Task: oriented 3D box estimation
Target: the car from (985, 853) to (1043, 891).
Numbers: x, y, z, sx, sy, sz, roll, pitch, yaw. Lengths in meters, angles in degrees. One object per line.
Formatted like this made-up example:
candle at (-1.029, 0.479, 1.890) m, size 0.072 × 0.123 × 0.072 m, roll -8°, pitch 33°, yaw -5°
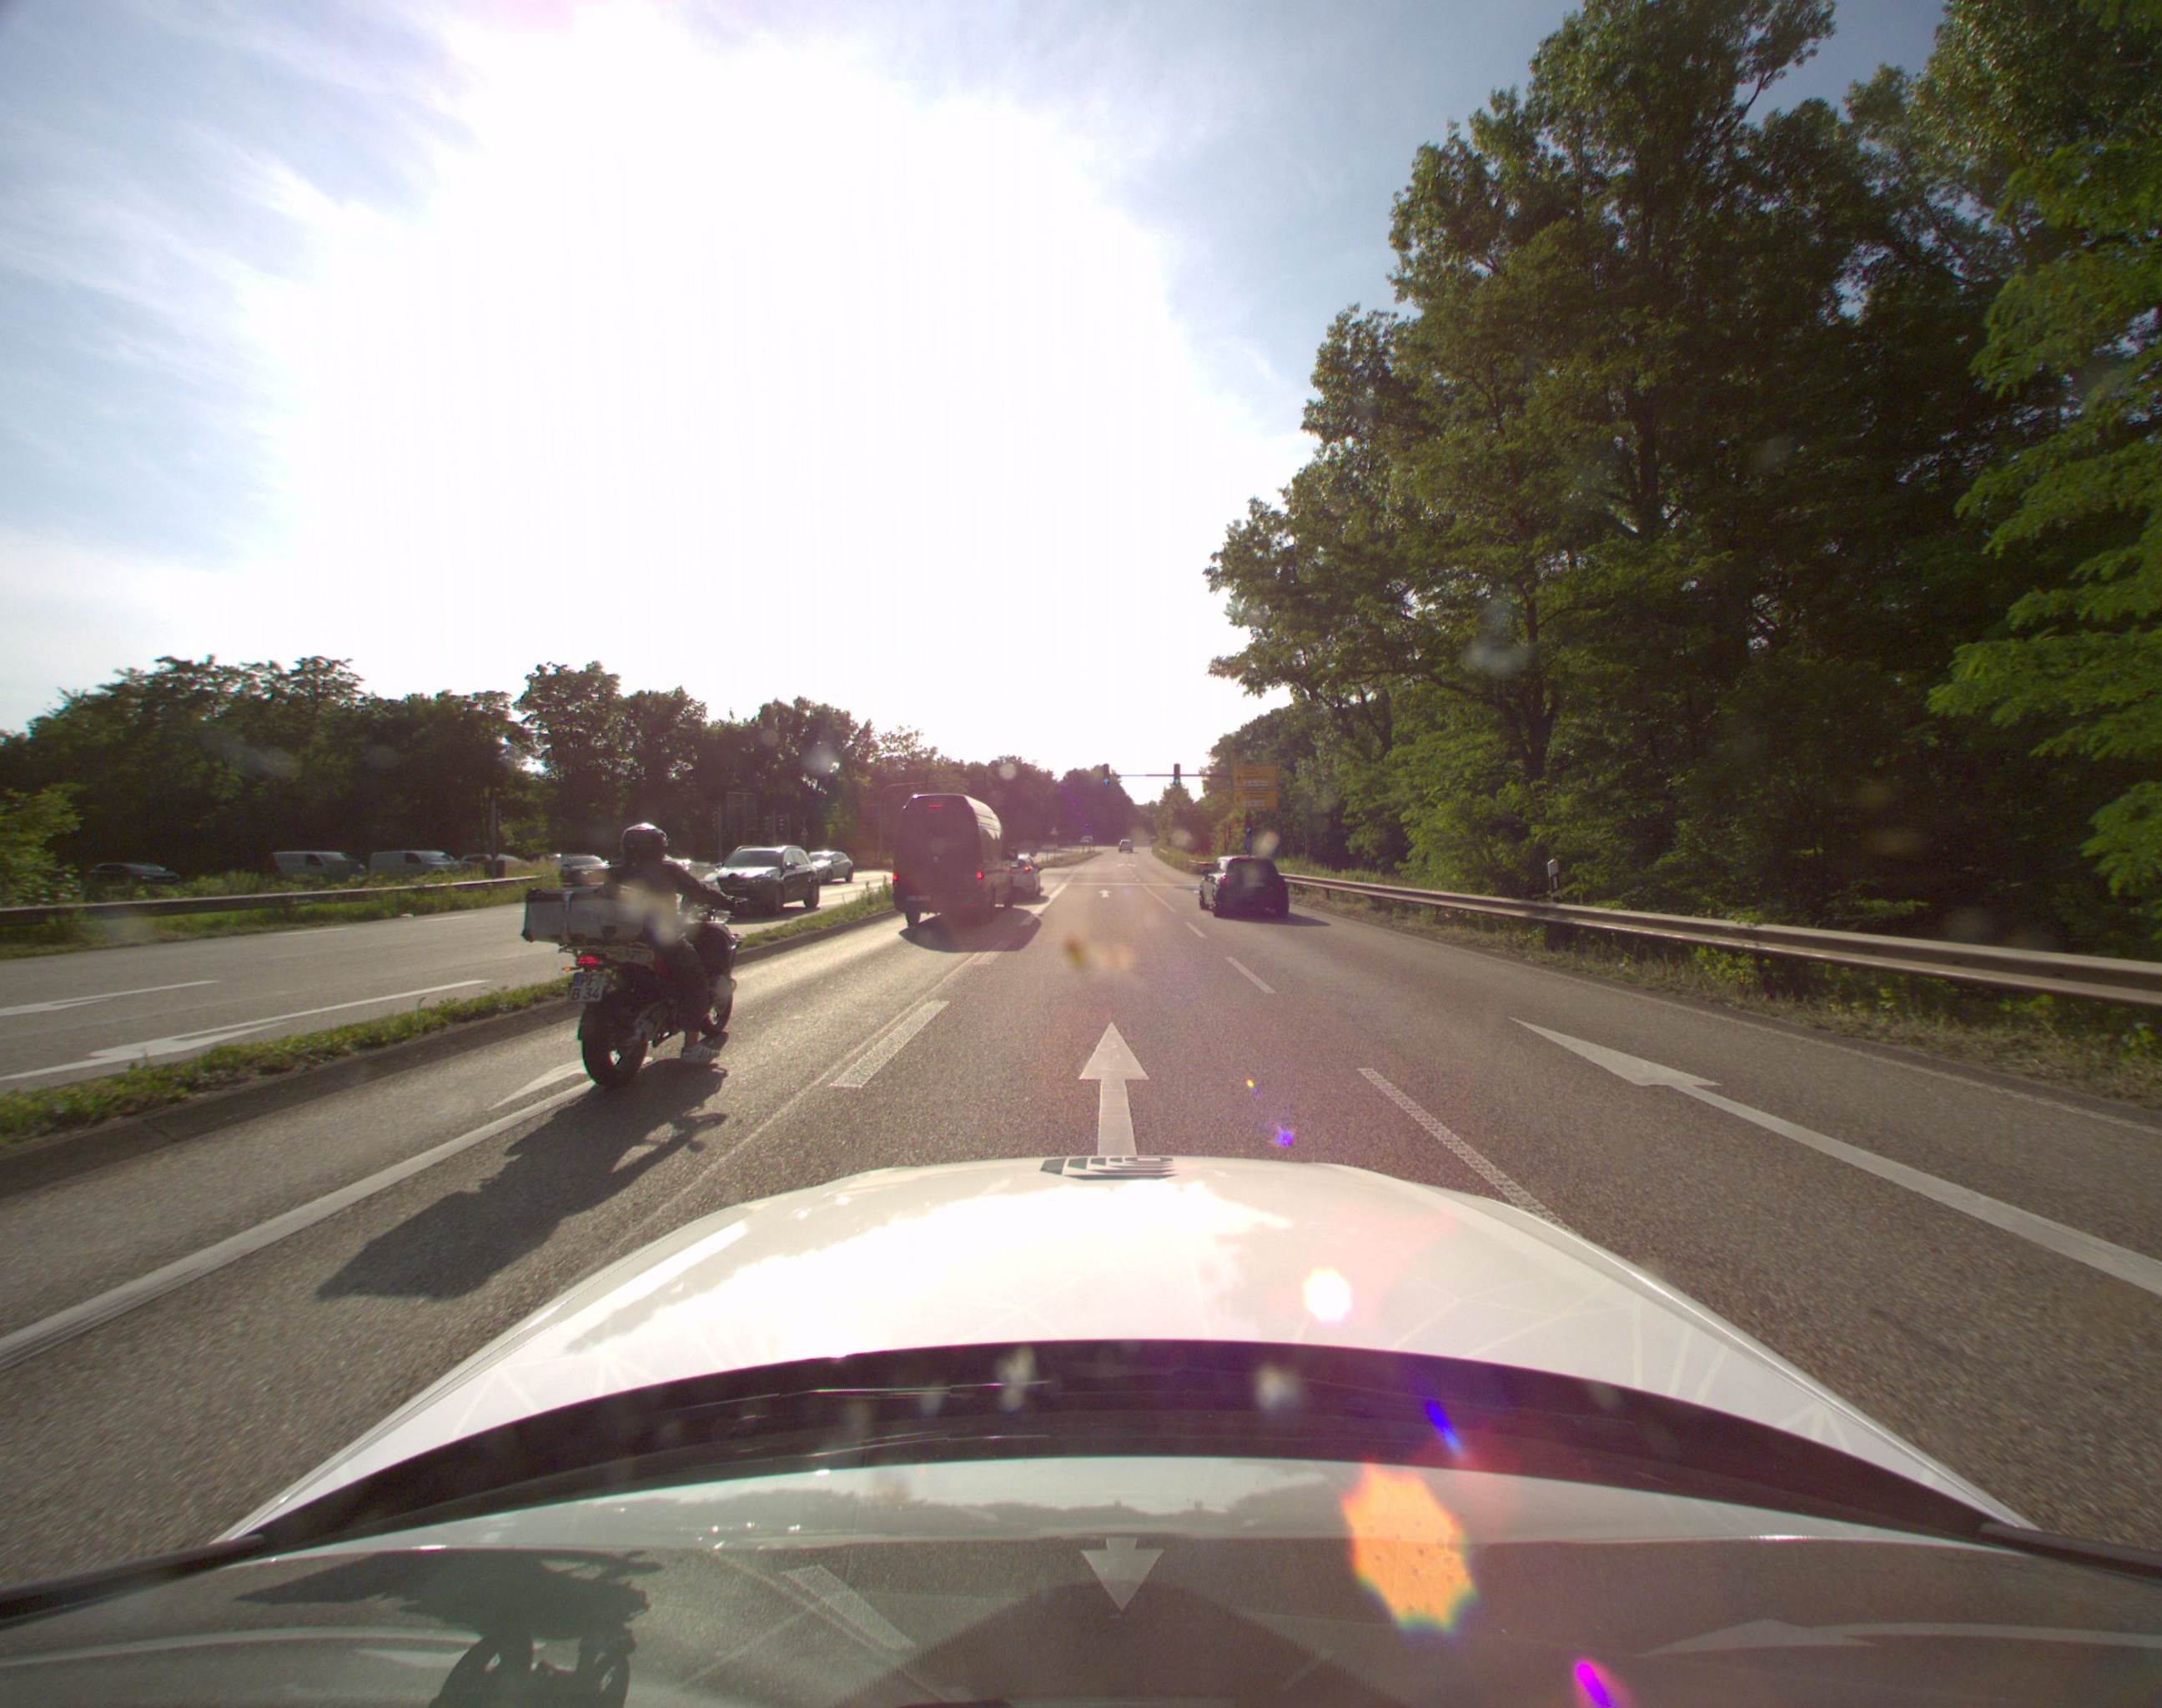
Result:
car at (-2.684, 0.688, 33.644) m, size 1.728 × 1.421 × 4.805 m, roll -1°, pitch 0°, yaw 3°

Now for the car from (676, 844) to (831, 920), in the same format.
car at (-8.603, 0.649, 21.953) m, size 2.068 × 1.763 × 4.759 m, roll -2°, pitch 0°, yaw 2°

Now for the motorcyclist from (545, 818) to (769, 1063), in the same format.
motorcyclist at (-3.099, 0.570, 6.108) m, size 0.879 × 1.616 × 1.293 m, roll 1°, pitch 0°, yaw 7°

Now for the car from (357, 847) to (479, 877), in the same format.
car at (-36.321, 0.427, 44.652) m, size 5.023 × 1.490 × 2.454 m, roll 1°, pitch 0°, yaw 10°

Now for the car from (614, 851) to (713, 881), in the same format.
car at (-22.345, 0.610, 43.675) m, size 4.379 × 1.490 × 2.006 m, roll 1°, pitch 0°, yaw 11°

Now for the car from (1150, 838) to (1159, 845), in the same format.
car at (16.826, -2.963, 187.090) m, size 1.738 × 1.537 × 3.926 m, roll 1°, pitch 0°, yaw 1°

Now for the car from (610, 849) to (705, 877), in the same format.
car at (-24.289, 0.500, 46.835) m, size 4.393 × 1.490 × 2.000 m, roll 1°, pitch 0°, yaw 0°

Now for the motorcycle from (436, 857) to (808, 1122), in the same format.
motorcycle at (-3.114, 0.794, 6.048) m, size 0.904 × 1.453 × 2.694 m, roll -3°, pitch 0°, yaw 7°

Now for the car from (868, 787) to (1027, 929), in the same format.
car at (-2.995, 0.059, 20.342) m, size 2.199 × 2.888 × 7.020 m, roll -1°, pitch 0°, yaw 5°

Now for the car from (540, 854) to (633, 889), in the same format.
car at (-23.869, 0.793, 39.263) m, size 4.503 × 1.490 × 2.013 m, roll 1°, pitch 0°, yaw 33°

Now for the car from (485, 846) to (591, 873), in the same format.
car at (-31.963, 0.311, 48.005) m, size 4.943 × 1.490 × 2.214 m, roll 1°, pitch 0°, yaw 9°

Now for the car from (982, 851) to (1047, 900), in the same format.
car at (-2.157, 0.658, 27.355) m, size 1.639 × 1.489 × 4.107 m, roll -1°, pitch 0°, yaw 3°

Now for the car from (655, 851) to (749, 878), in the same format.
car at (-23.077, 0.637, 49.703) m, size 4.694 × 1.490 × 2.168 m, roll 1°, pitch 0°, yaw 0°

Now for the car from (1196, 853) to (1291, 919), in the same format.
car at (3.945, 0.729, 20.376) m, size 1.812 × 1.467 × 3.876 m, roll -1°, pitch 0°, yaw 3°

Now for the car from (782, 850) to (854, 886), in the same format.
car at (-12.362, 0.615, 38.577) m, size 1.876 × 1.503 × 4.267 m, roll -2°, pitch 0°, yaw 2°

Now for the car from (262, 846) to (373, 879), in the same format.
car at (-43.109, 0.437, 46.014) m, size 4.608 × 1.727 × 2.198 m, roll 1°, pitch 0°, yaw 10°

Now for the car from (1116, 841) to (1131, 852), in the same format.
car at (5.683, -1.002, 109.313) m, size 1.752 × 1.380 × 3.978 m, roll 1°, pitch 0°, yaw 6°

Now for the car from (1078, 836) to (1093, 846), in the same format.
car at (0.809, -2.442, 155.937) m, size 1.837 × 1.786 × 4.686 m, roll 1°, pitch 0°, yaw 13°

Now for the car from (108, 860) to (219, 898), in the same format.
car at (-53.962, 1.439, 47.939) m, size 4.608 × 2.096 × 2.198 m, roll 1°, pitch 0°, yaw 10°
